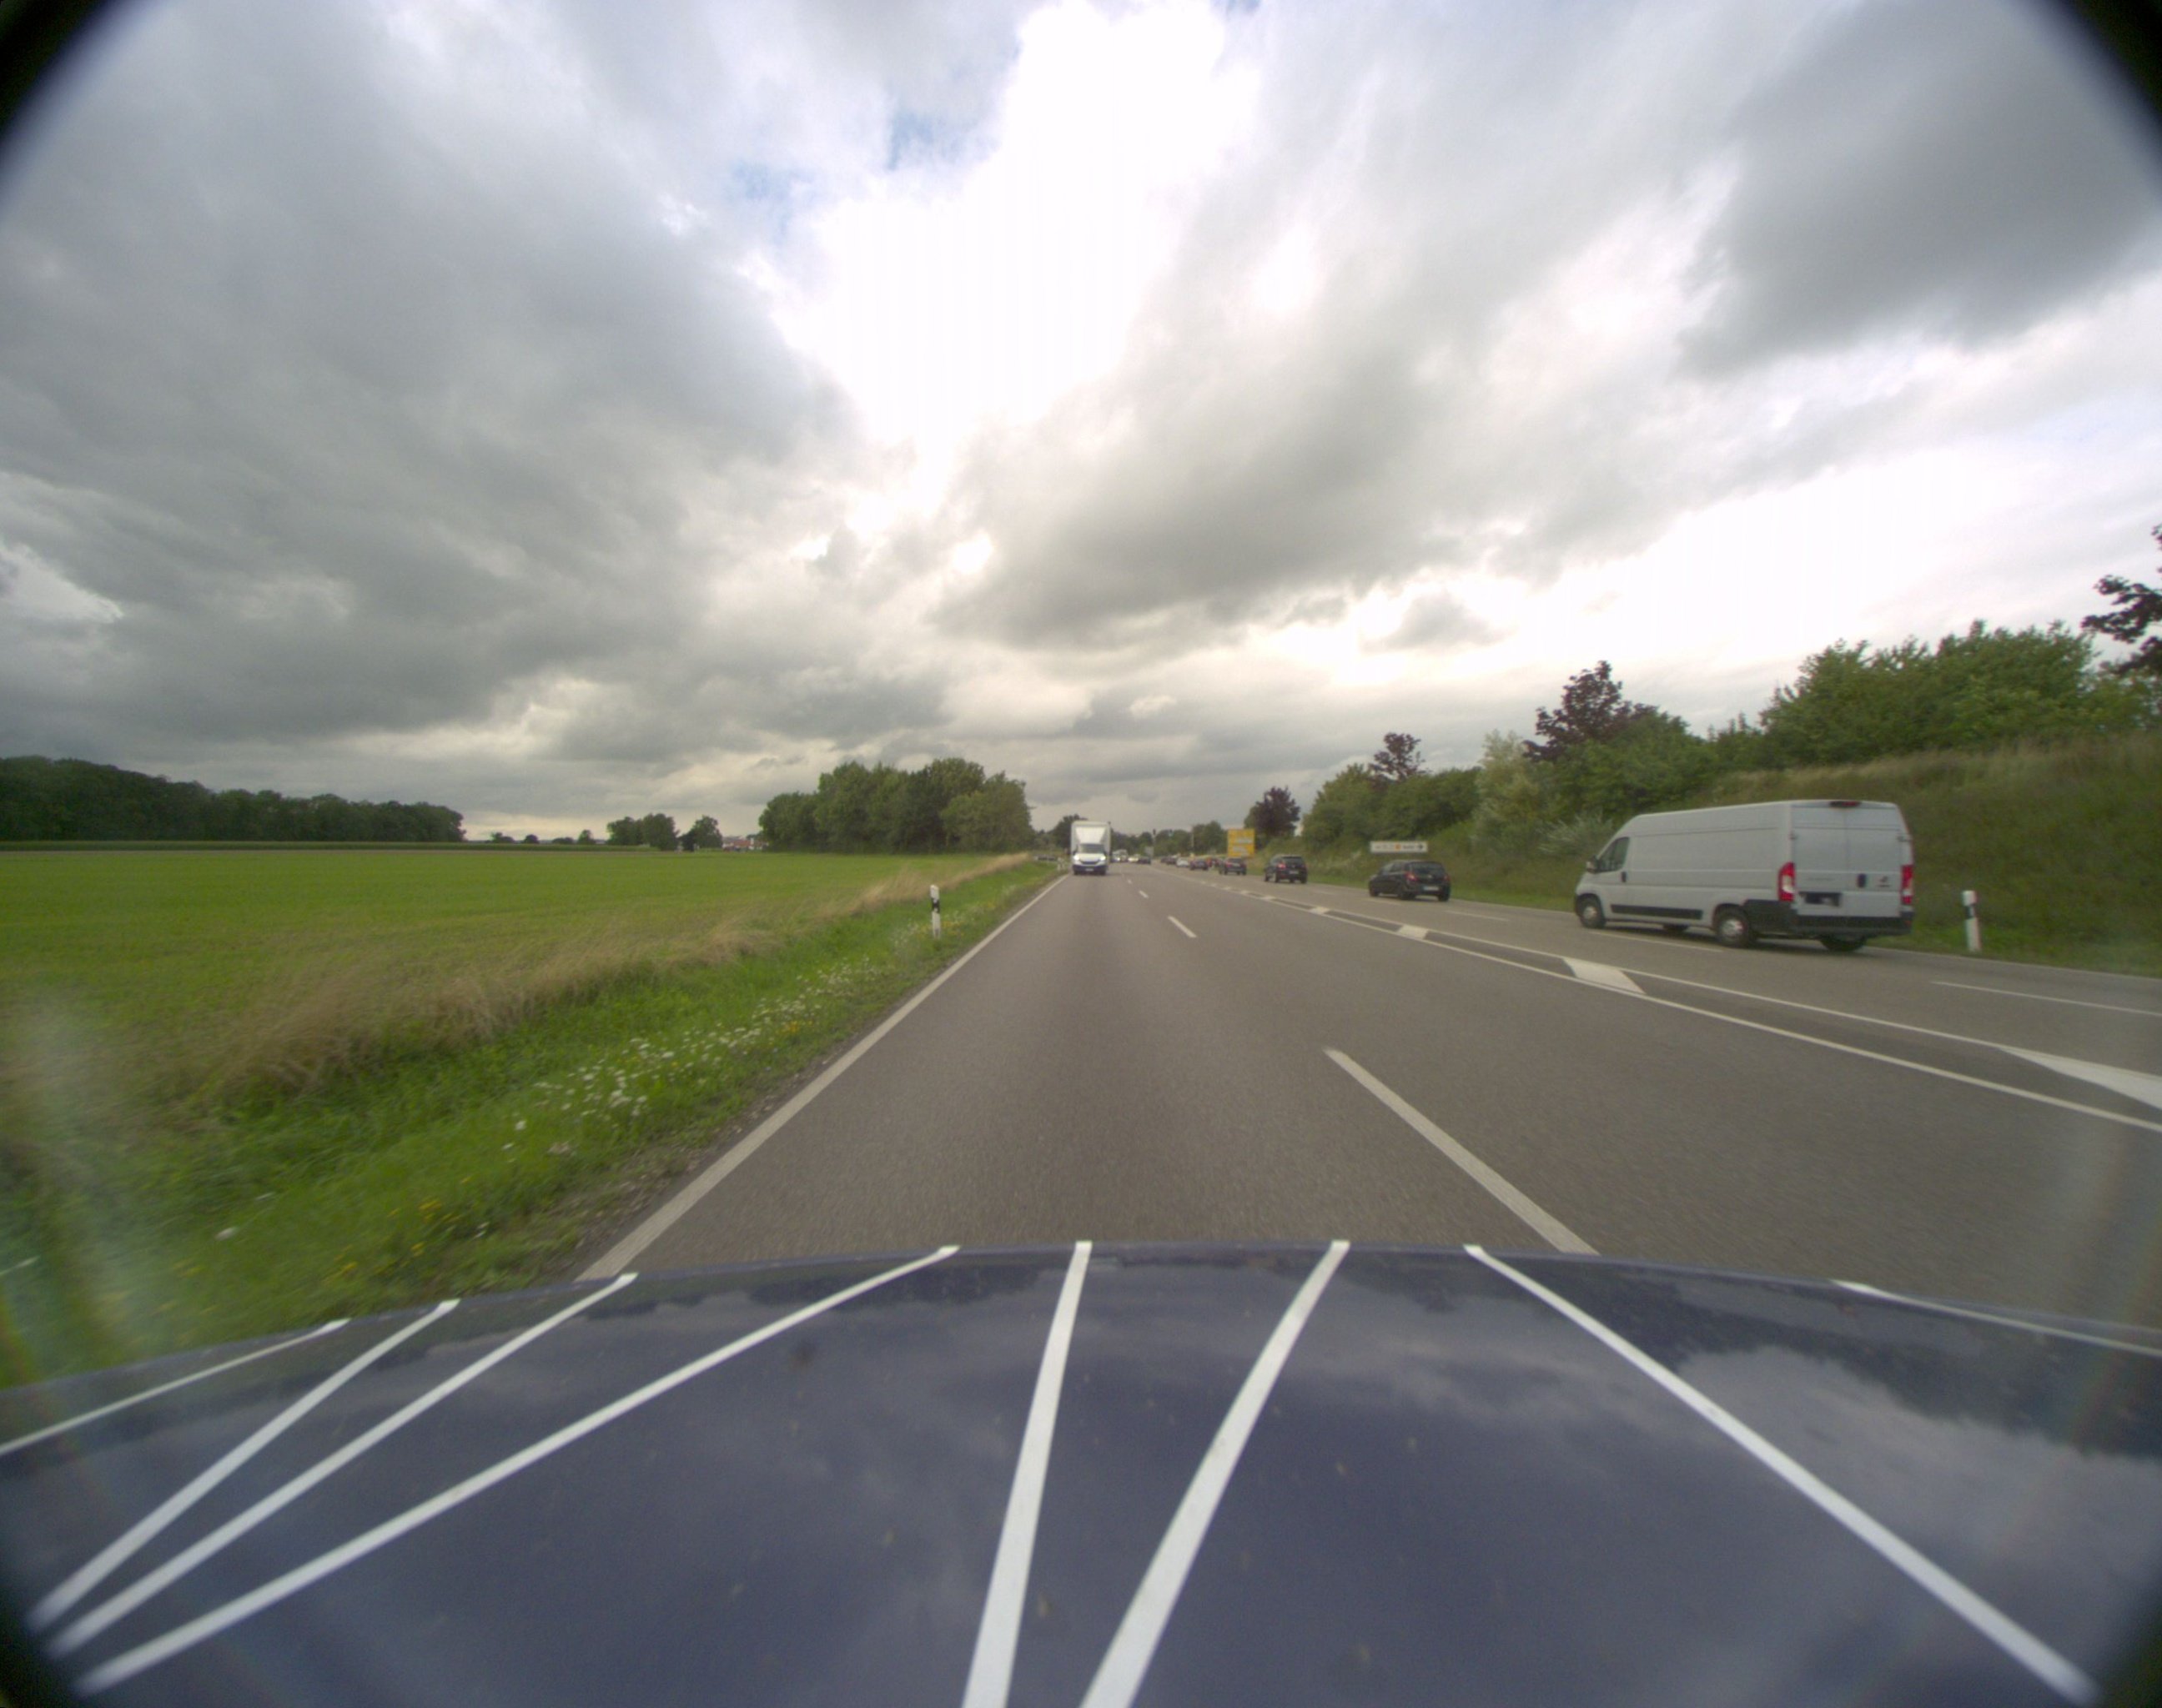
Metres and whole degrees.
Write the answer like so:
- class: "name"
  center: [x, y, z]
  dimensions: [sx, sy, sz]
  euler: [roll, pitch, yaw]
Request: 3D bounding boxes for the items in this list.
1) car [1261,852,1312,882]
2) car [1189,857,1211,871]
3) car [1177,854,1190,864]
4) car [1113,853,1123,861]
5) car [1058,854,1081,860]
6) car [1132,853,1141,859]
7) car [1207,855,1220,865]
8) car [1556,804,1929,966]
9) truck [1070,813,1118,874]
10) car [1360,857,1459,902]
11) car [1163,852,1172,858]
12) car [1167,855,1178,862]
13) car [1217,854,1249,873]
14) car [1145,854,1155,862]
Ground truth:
- class: "car"
  center: [12.108, 0.752, 45.055]
  dimensions: [1.798, 1.624, 4.516]
  euler: [2, 0, 1]
- class: "car"
  center: [13.763, 1.135, 88.203]
  dimensions: [1.798, 1.397, 4.706]
  euler: [2, 0, 1]
- class: "car"
  center: [15.458, 0.754, 114.769]
  dimensions: [1.611, 1.406, 4.056]
  euler: [0, 0, 1]
- class: "car"
  center: [7.380, 0.582, 151.486]
  dimensions: [1.860, 1.440, 4.001]
  euler: [1, 0, 4]
- class: "car"
  center: [-2.195, 0.612, 147.724]
  dimensions: [4.344, 1.214, 1.866]
  euler: [1, 0, 6]
- class: "car"
  center: [12.185, 0.351, 167.528]
  dimensions: [1.860, 1.274, 4.001]
  euler: [1, 0, 4]
- class: "car"
  center: [22.807, 0.981, 130.865]
  dimensions: [1.860, 1.586, 4.399]
  euler: [1, 0, 4]
- class: "car"
  center: [11.863, 0.477, 14.416]
  dimensions: [2.038, 2.425, 5.634]
  euler: [1, 0, -1]
- class: "truck"
  center: [0.757, -0.630, 50.478]
  dimensions: [2.934, 3.652, 8.442]
  euler: [-1, 0, 0]
- class: "car"
  center: [11.914, 0.874, 27.855]
  dimensions: [1.737, 1.521, 4.193]
  euler: [1, 0, -1]
- class: "car"
  center: [22.072, 0.246, 194.043]
  dimensions: [1.855, 1.706, 4.129]
  euler: [-1, 0, 2]
- class: "car"
  center: [17.589, 0.857, 146.421]
  dimensions: [1.727, 1.472, 4.660]
  euler: [1, 0, 4]
- class: "car"
  center: [12.940, 0.809, 64.879]
  dimensions: [1.798, 1.502, 4.706]
  euler: [2, 0, 1]
- class: "car"
  center: [12.864, 0.751, 141.725]
  dimensions: [1.860, 1.399, 4.186]
  euler: [1, 0, 4]
